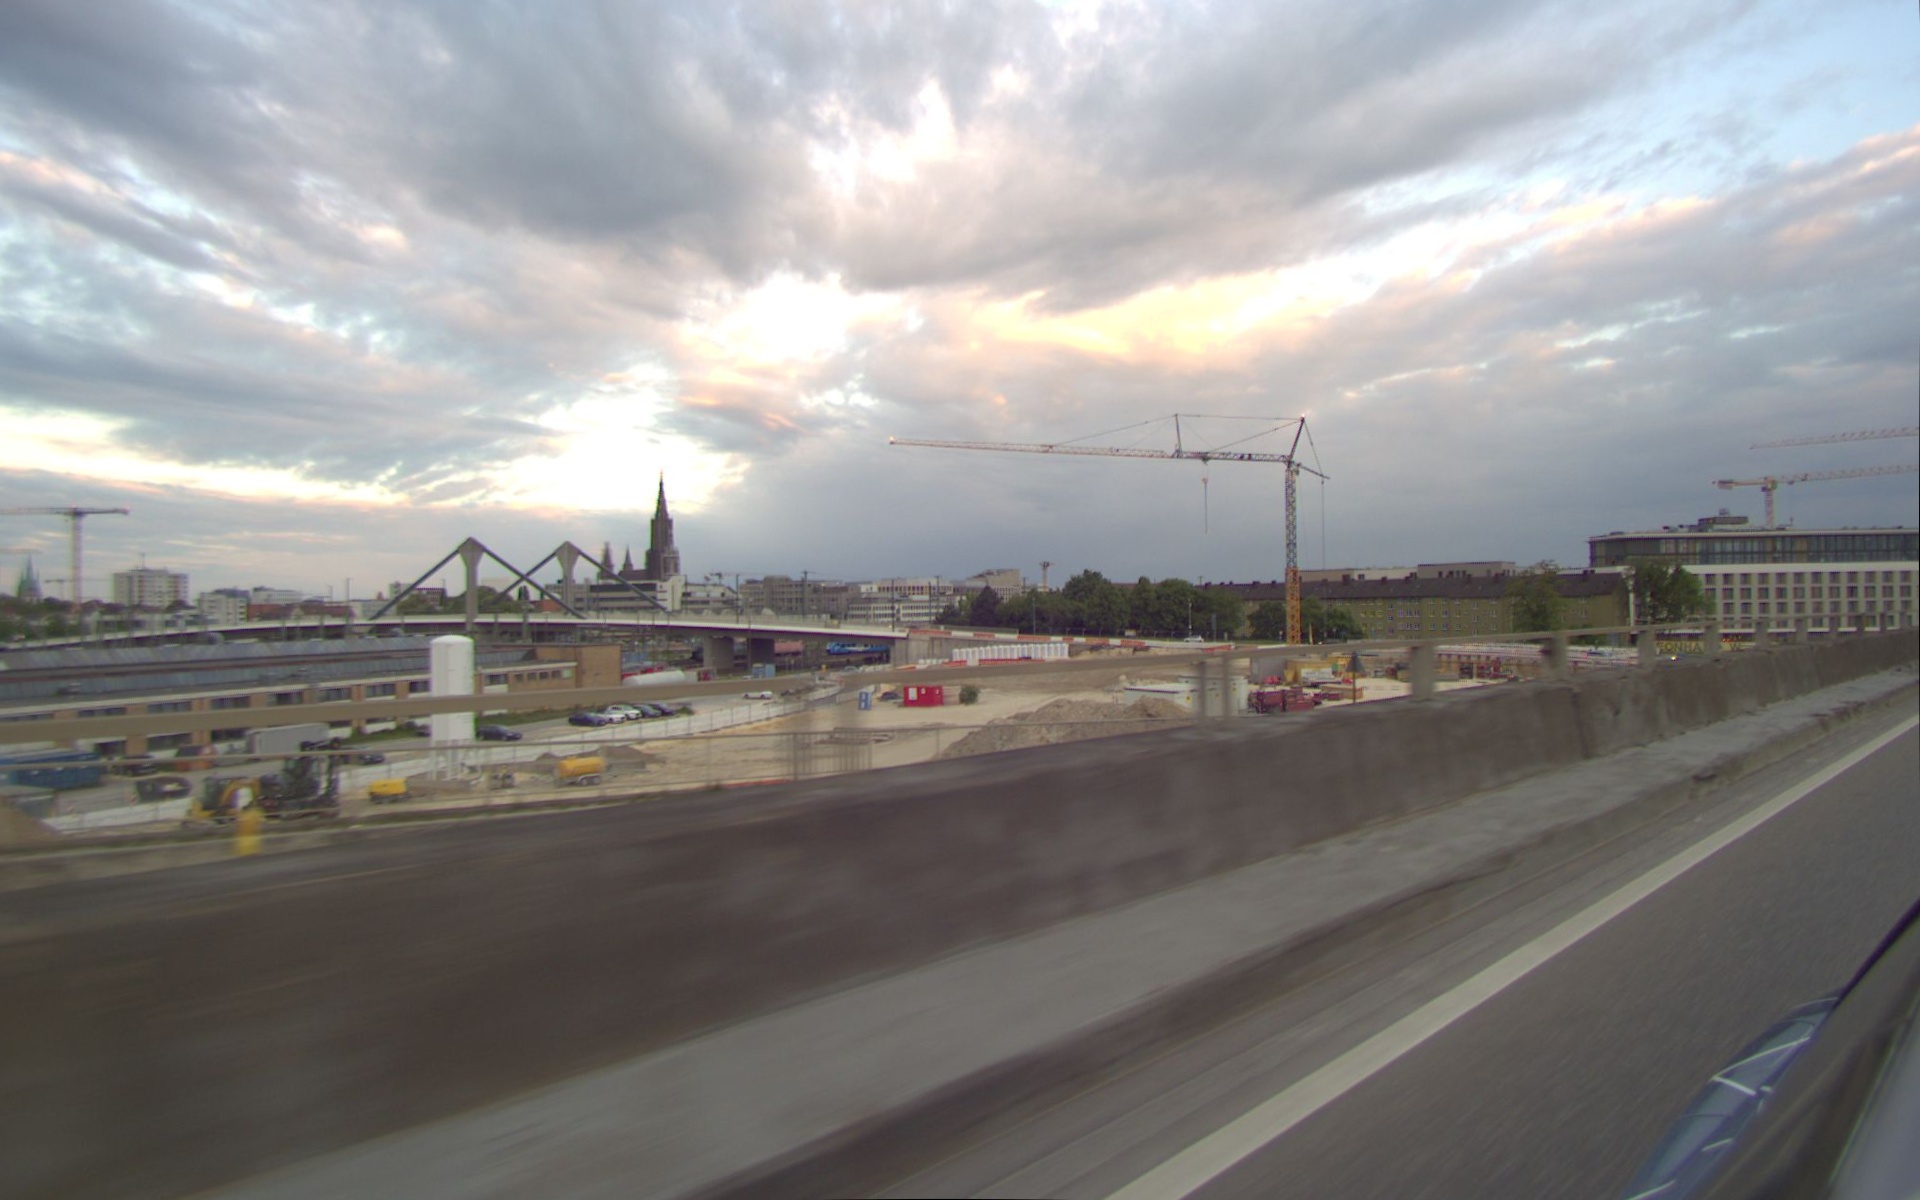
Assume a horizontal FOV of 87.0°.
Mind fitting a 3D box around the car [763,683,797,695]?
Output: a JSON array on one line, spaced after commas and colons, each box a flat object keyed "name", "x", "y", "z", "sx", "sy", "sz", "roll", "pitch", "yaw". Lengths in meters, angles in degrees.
[{"name": "car", "x": -25.781, "y": 12.745, "z": 144.902, "sx": 4.282, "sy": 1.540, "sz": 1.862, "roll": -3, "pitch": -1, "yaw": 16}]

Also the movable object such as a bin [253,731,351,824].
[{"name": "movable object such as a bin", "x": -34.322, "y": 9.208, "z": 52.733, "sx": 4.925, "sy": 4.368, "sz": 2.747, "roll": -8, "pitch": -7, "yaw": 37}]

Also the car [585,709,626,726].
[{"name": "car", "x": -39.011, "y": 12.934, "z": 111.382, "sx": 3.949, "sy": 1.439, "sz": 1.858, "roll": -6, "pitch": -6, "yaw": 20}]

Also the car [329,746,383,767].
[{"name": "car", "x": -50.745, "y": 13.122, "z": 85.018, "sx": 3.949, "sy": 1.439, "sz": 1.858, "roll": -6, "pitch": -6, "yaw": 20}]

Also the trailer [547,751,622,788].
[{"name": "trailer", "x": -22.917, "y": 10.292, "z": 61.774, "sx": 1.992, "sy": 1.828, "sz": 3.782, "roll": -9, "pitch": -7, "yaw": 44}]

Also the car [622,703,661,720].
[{"name": "car", "x": -36.683, "y": 12.827, "z": 116.461, "sx": 3.949, "sy": 1.674, "sz": 1.858, "roll": -6, "pitch": -6, "yaw": 20}]

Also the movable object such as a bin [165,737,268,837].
[{"name": "movable object such as a bin", "x": -36.168, "y": 9.021, "z": 49.182, "sx": 4.925, "sy": 4.368, "sz": 2.747, "roll": -8, "pitch": -7, "yaw": 37}]

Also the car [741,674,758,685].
[{"name": "car", "x": -33.930, "y": 12.811, "z": 163.192, "sx": 1.416, "sy": 1.597, "sz": 3.671, "roll": -5, "pitch": -5, "yaw": 10}]

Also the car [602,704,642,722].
[{"name": "car", "x": -38.155, "y": 12.736, "z": 114.103, "sx": 3.949, "sy": 1.738, "sz": 1.858, "roll": -6, "pitch": -6, "yaw": 20}]

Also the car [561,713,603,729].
[{"name": "car", "x": -40.642, "y": 13.035, "z": 108.886, "sx": 3.949, "sy": 1.439, "sz": 1.858, "roll": -6, "pitch": -6, "yaw": 20}]

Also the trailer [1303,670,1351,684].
[{"name": "trailer", "x": 37.576, "y": 7.839, "z": 103.650, "sx": 4.164, "sy": 1.257, "sz": 1.787, "roll": -1, "pitch": -2, "yaw": -10}]

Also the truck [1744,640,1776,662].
[{"name": "truck", "x": 114.979, "y": 7.332, "z": 145.416, "sx": 7.208, "sy": 2.987, "sz": 2.160, "roll": 1, "pitch": -4, "yaw": -41}]

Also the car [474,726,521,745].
[{"name": "car", "x": -44.702, "y": 13.087, "z": 97.790, "sx": 3.949, "sy": 1.439, "sz": 1.858, "roll": -6, "pitch": -6, "yaw": 20}]

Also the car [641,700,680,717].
[{"name": "car", "x": -35.238, "y": 12.799, "z": 119.083, "sx": 3.949, "sy": 1.674, "sz": 1.858, "roll": -6, "pitch": -6, "yaw": 20}]

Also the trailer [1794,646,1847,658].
[{"name": "trailer", "x": 127.784, "y": 7.709, "z": 150.313, "sx": 5.836, "sy": 1.365, "sz": 2.001, "roll": 0, "pitch": 0, "yaw": 36}]

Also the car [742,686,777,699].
[{"name": "car", "x": -27.777, "y": 12.791, "z": 140.111, "sx": 4.282, "sy": 1.540, "sz": 1.862, "roll": -3, "pitch": -1, "yaw": 16}]
